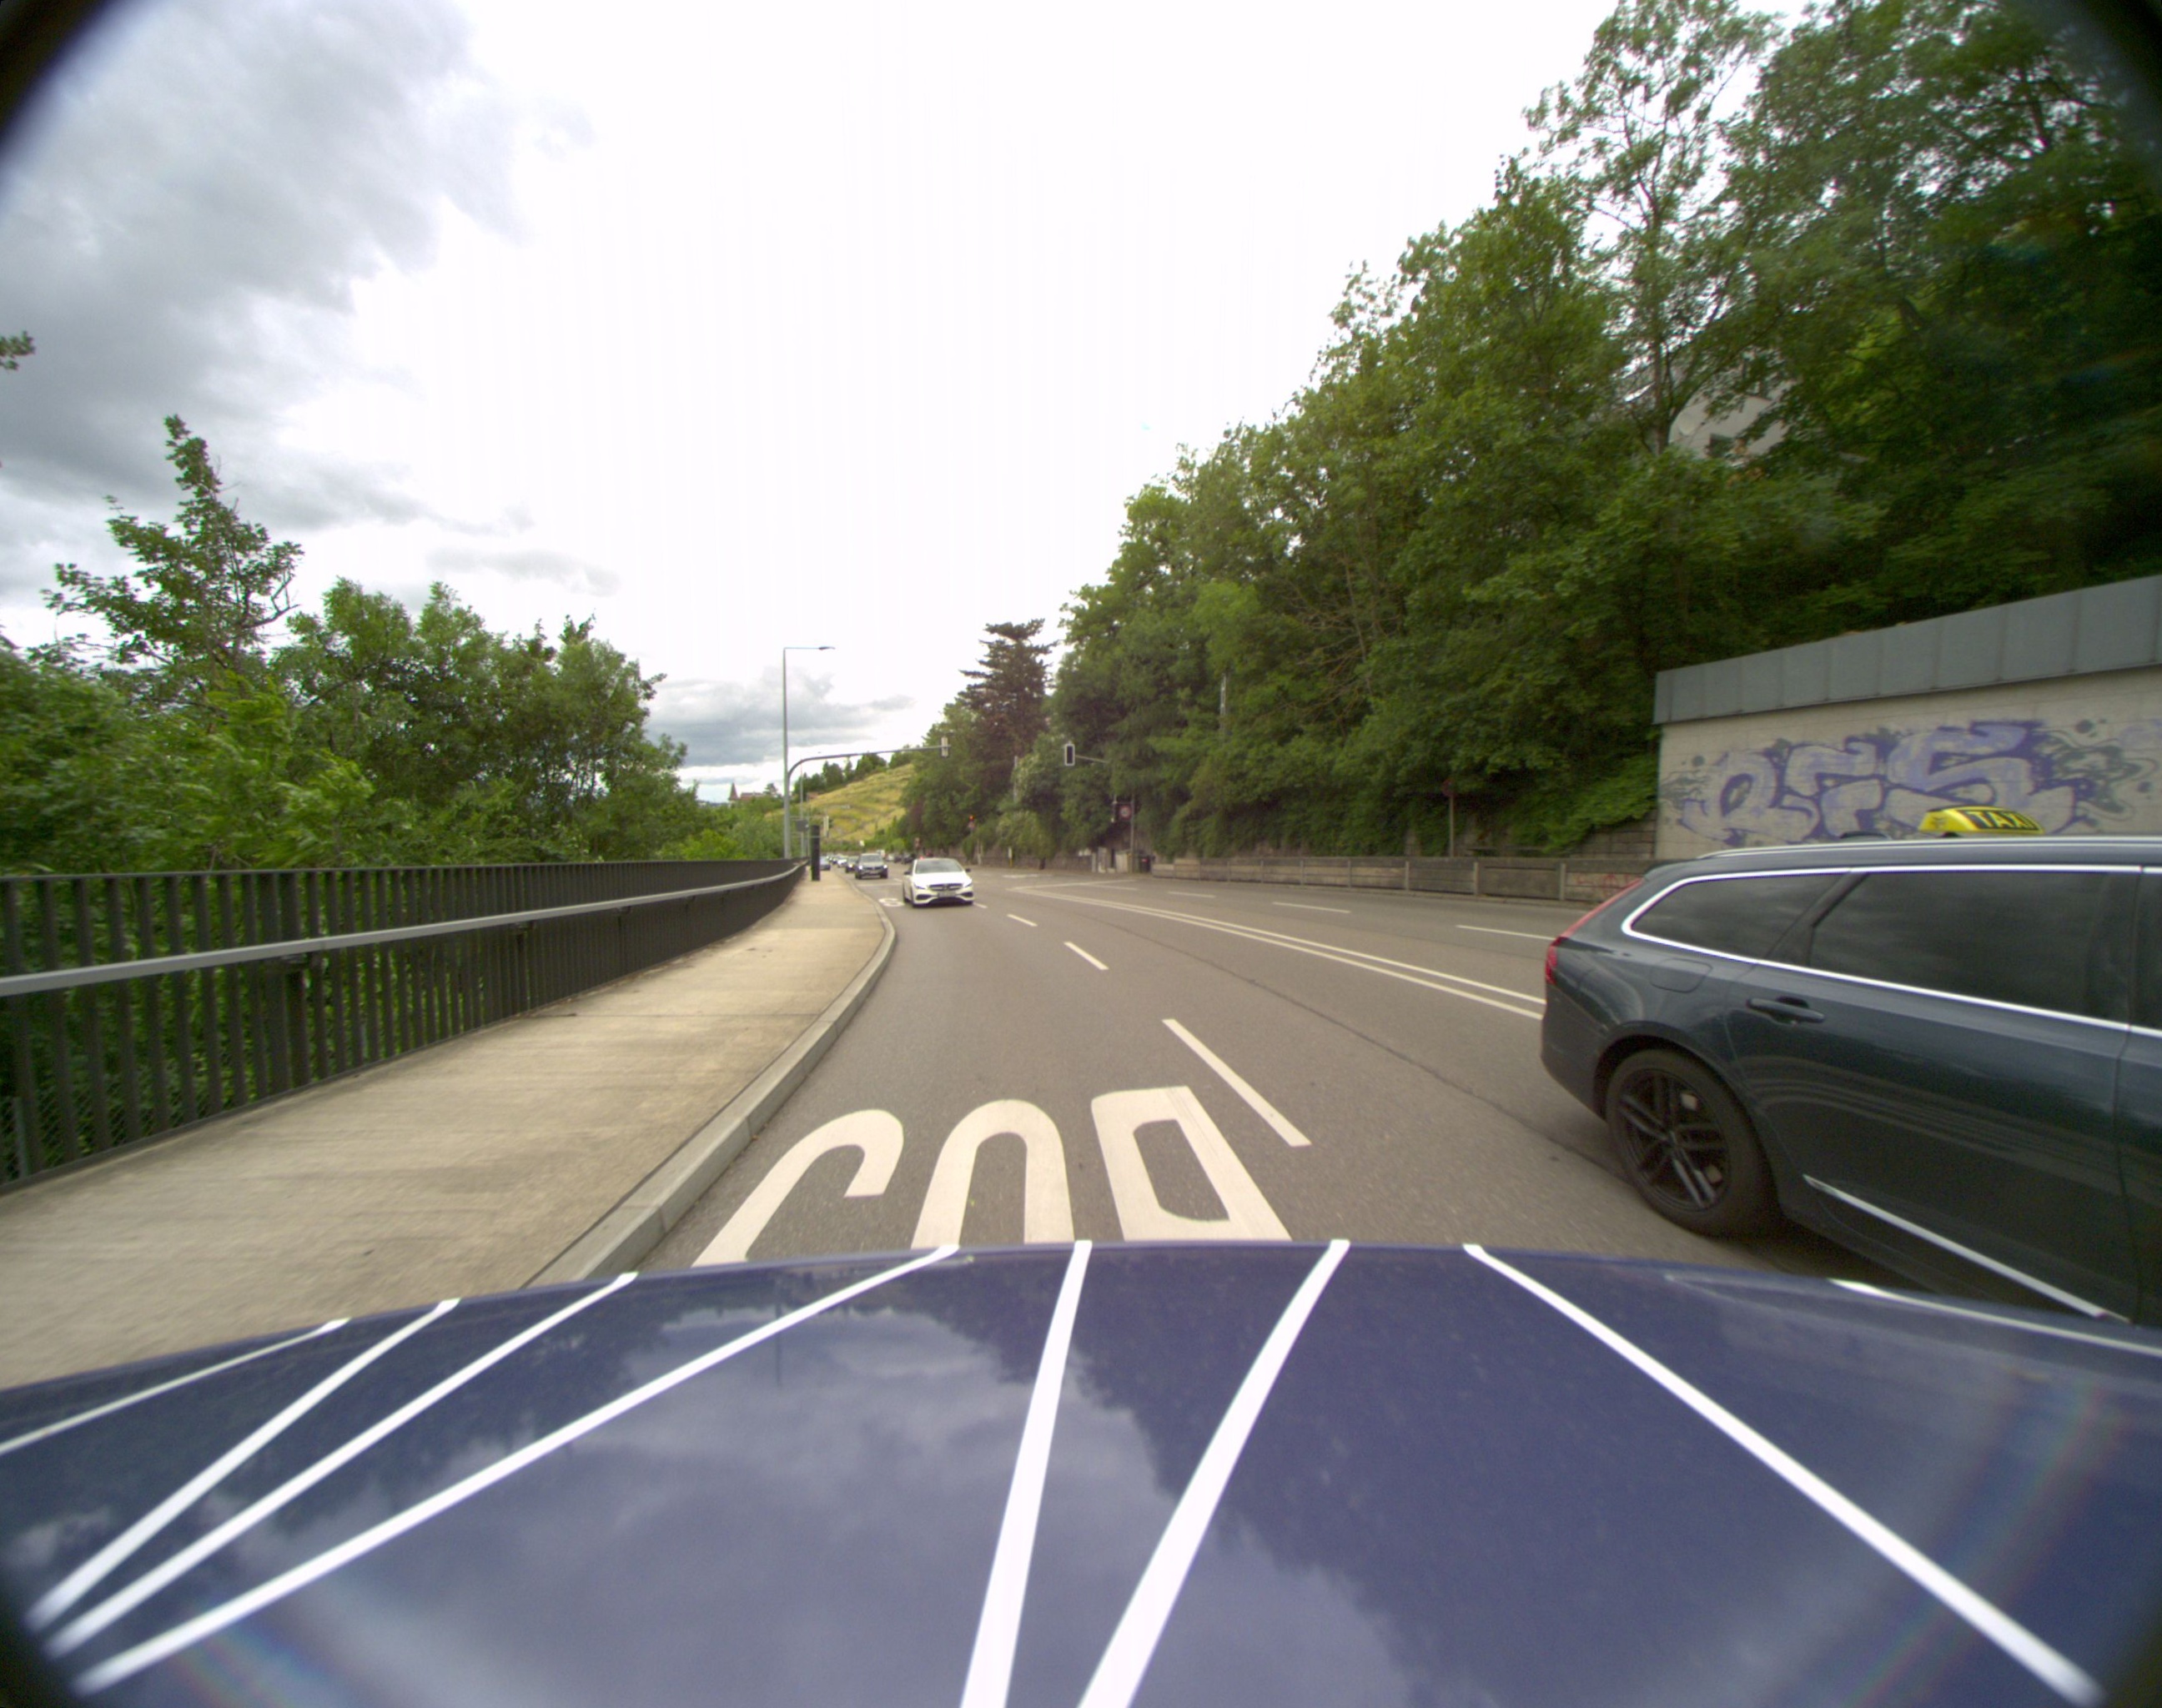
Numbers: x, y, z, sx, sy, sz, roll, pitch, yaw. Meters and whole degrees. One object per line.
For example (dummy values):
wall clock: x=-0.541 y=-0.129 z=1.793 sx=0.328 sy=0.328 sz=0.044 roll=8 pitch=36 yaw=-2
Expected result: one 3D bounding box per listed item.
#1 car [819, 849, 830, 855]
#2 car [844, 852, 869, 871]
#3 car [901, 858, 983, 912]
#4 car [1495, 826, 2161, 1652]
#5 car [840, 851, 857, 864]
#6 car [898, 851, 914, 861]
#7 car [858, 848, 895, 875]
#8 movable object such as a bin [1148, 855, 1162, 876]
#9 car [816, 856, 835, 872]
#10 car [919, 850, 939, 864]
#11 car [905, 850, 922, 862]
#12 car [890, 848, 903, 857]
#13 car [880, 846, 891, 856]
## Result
car: x=-71.769 y=-0.536 z=212.405 sx=1.824 sy=1.688 sz=4.458 roll=-3 pitch=1 yaw=-32
car: x=-19.980 y=0.651 z=67.564 sx=2.002 sy=1.574 sz=3.994 roll=-1 pitch=0 yaw=-18
car: x=-4.419 y=0.920 z=23.599 sx=1.906 sy=1.419 sz=4.259 roll=-3 pitch=0 yaw=-18
car: x=3.092 y=0.764 z=1.247 sx=1.940 sy=1.567 sz=5.025 roll=-3 pitch=1 yaw=-1
car: x=-30.249 y=0.445 z=98.678 sx=2.002 sy=1.574 sz=3.994 roll=-1 pitch=0 yaw=-18
car: x=-27.204 y=0.272 z=118.271 sx=1.950 sy=1.540 sz=4.241 roll=-2 pitch=1 yaw=-18
car: x=-13.186 y=0.436 z=48.782 sx=2.001 sy=1.580 sz=3.993 roll=-4 pitch=2 yaw=-18
movable object such as a bin: x=3.435 y=0.544 z=35.426 sx=0.429 sy=0.945 sz=0.478 roll=-4 pitch=2 yaw=-20
car: x=-25.682 y=0.993 z=76.414 sx=1.764 sy=1.535 sz=4.419 roll=1 pitch=0 yaw=-19
car: x=-17.505 y=0.284 z=87.374 sx=1.820 sy=1.426 sz=4.241 roll=-4 pitch=2 yaw=-17
car: x=-22.535 y=0.242 z=102.214 sx=1.788 sy=1.473 sz=4.204 roll=-4 pitch=1 yaw=-19
car: x=-31.788 y=-0.216 z=130.711 sx=1.681 sy=1.434 sz=4.229 roll=-4 pitch=1 yaw=-8
car: x=-41.535 y=-0.559 z=161.500 sx=1.929 sy=1.993 sz=5.347 roll=-2 pitch=1 yaw=-18
